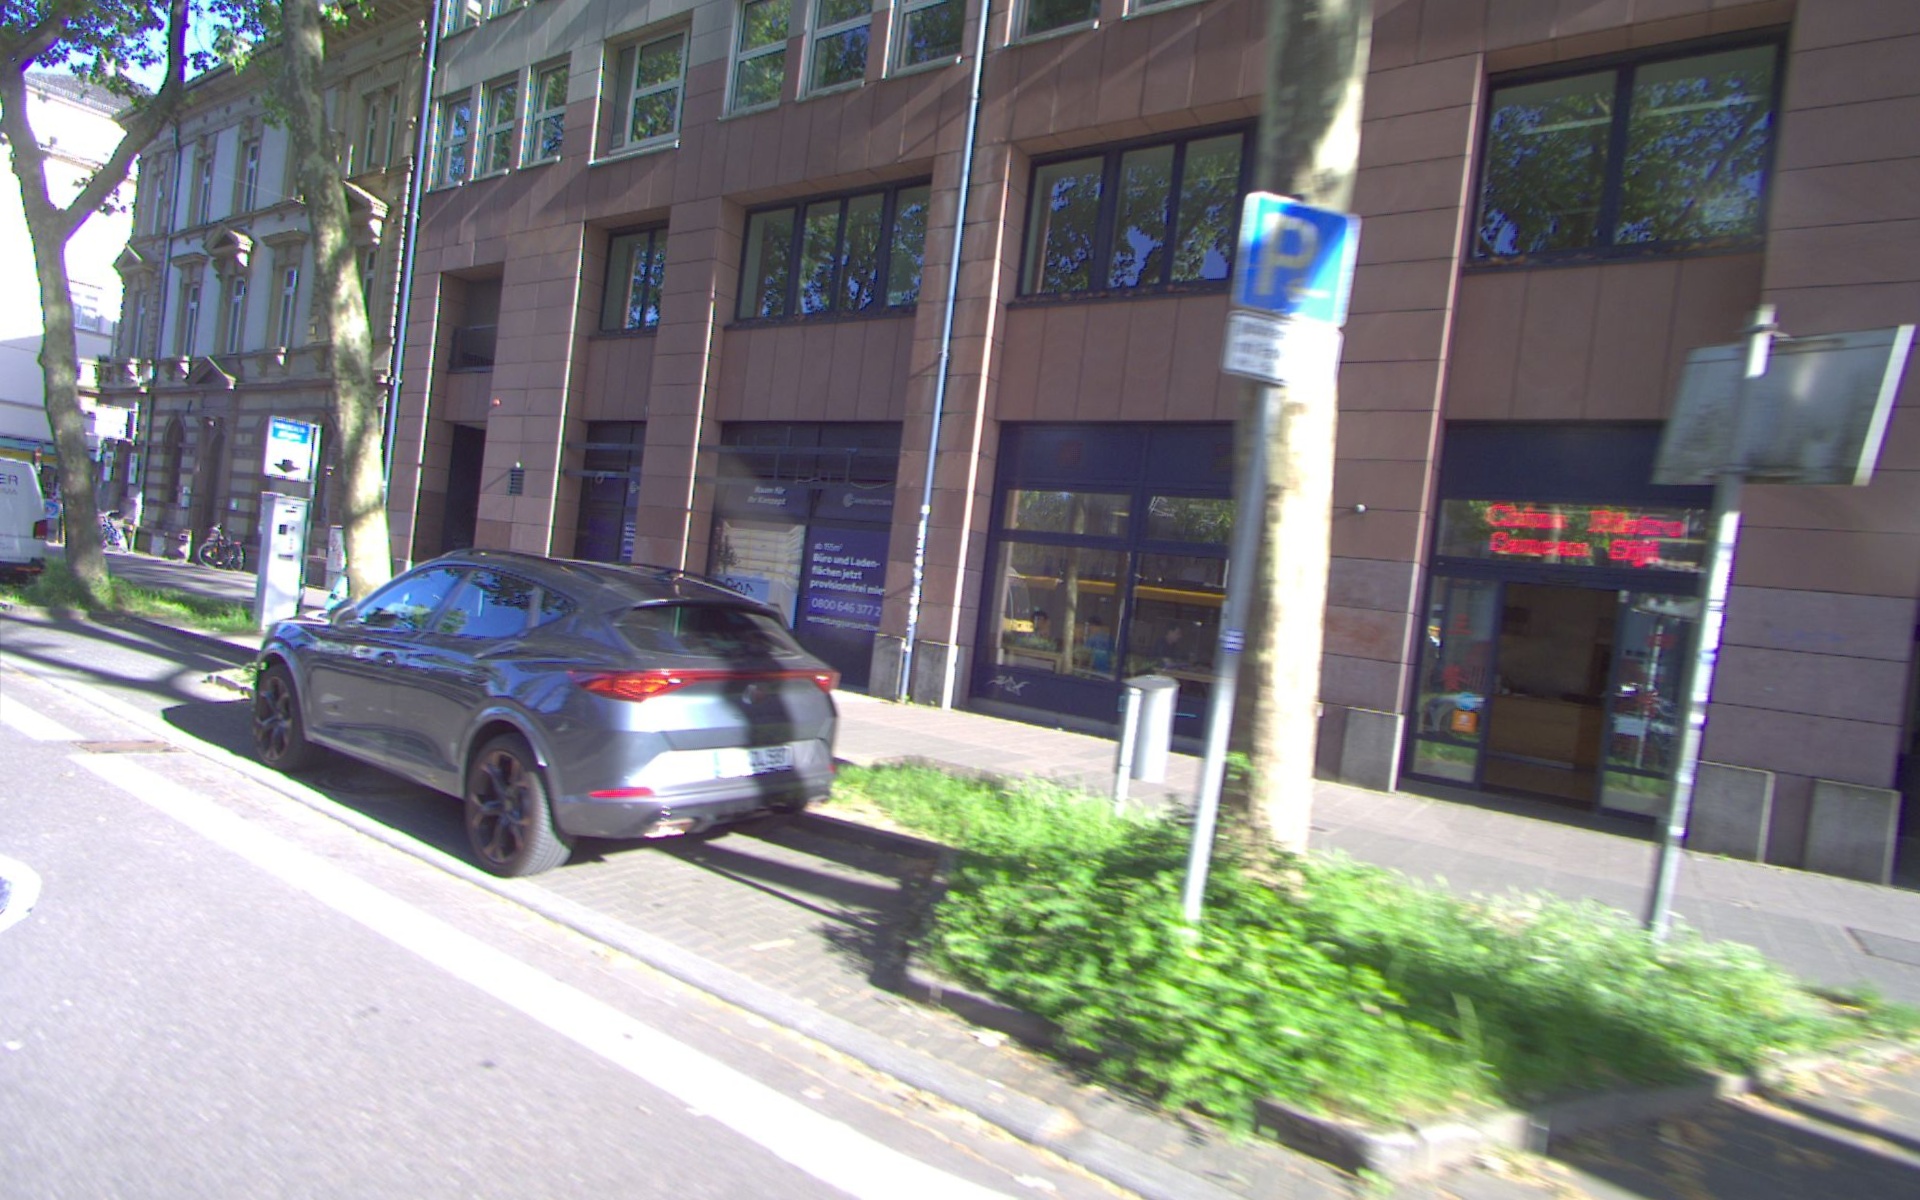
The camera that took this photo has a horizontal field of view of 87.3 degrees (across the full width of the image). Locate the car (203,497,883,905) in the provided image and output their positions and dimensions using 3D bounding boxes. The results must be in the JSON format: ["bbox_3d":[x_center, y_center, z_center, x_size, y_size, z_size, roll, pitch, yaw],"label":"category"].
[{"bbox_3d":[-2.704,0.390,6.109,4.212,1.588,1.670,6,-2,35],"label":"car"}]

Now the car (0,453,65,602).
[{"bbox_3d":[-15.653,-1.295,15.229,4.647,2.037,1.859,6,-2,34],"label":"car"}]

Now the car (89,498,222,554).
[{"bbox_3d":[-33.707,-3.075,42.245,1.641,1.489,3.946,7,-4,37],"label":"car"}]

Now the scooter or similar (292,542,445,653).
[{"bbox_3d":[-7.489,-0.006,12.795,0.442,1.252,1.541,7,0,34],"label":"scooter or similar"}]

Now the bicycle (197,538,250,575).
[{"bbox_3d":[-18.992,-1.129,25.933,1.636,0.783,0.549,6,2,33],"label":"bicycle"}]

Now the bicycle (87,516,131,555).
[{"bbox_3d":[-25.179,-1.916,29.766,1.852,1.009,0.415,6,0,33],"label":"bicycle"}]
